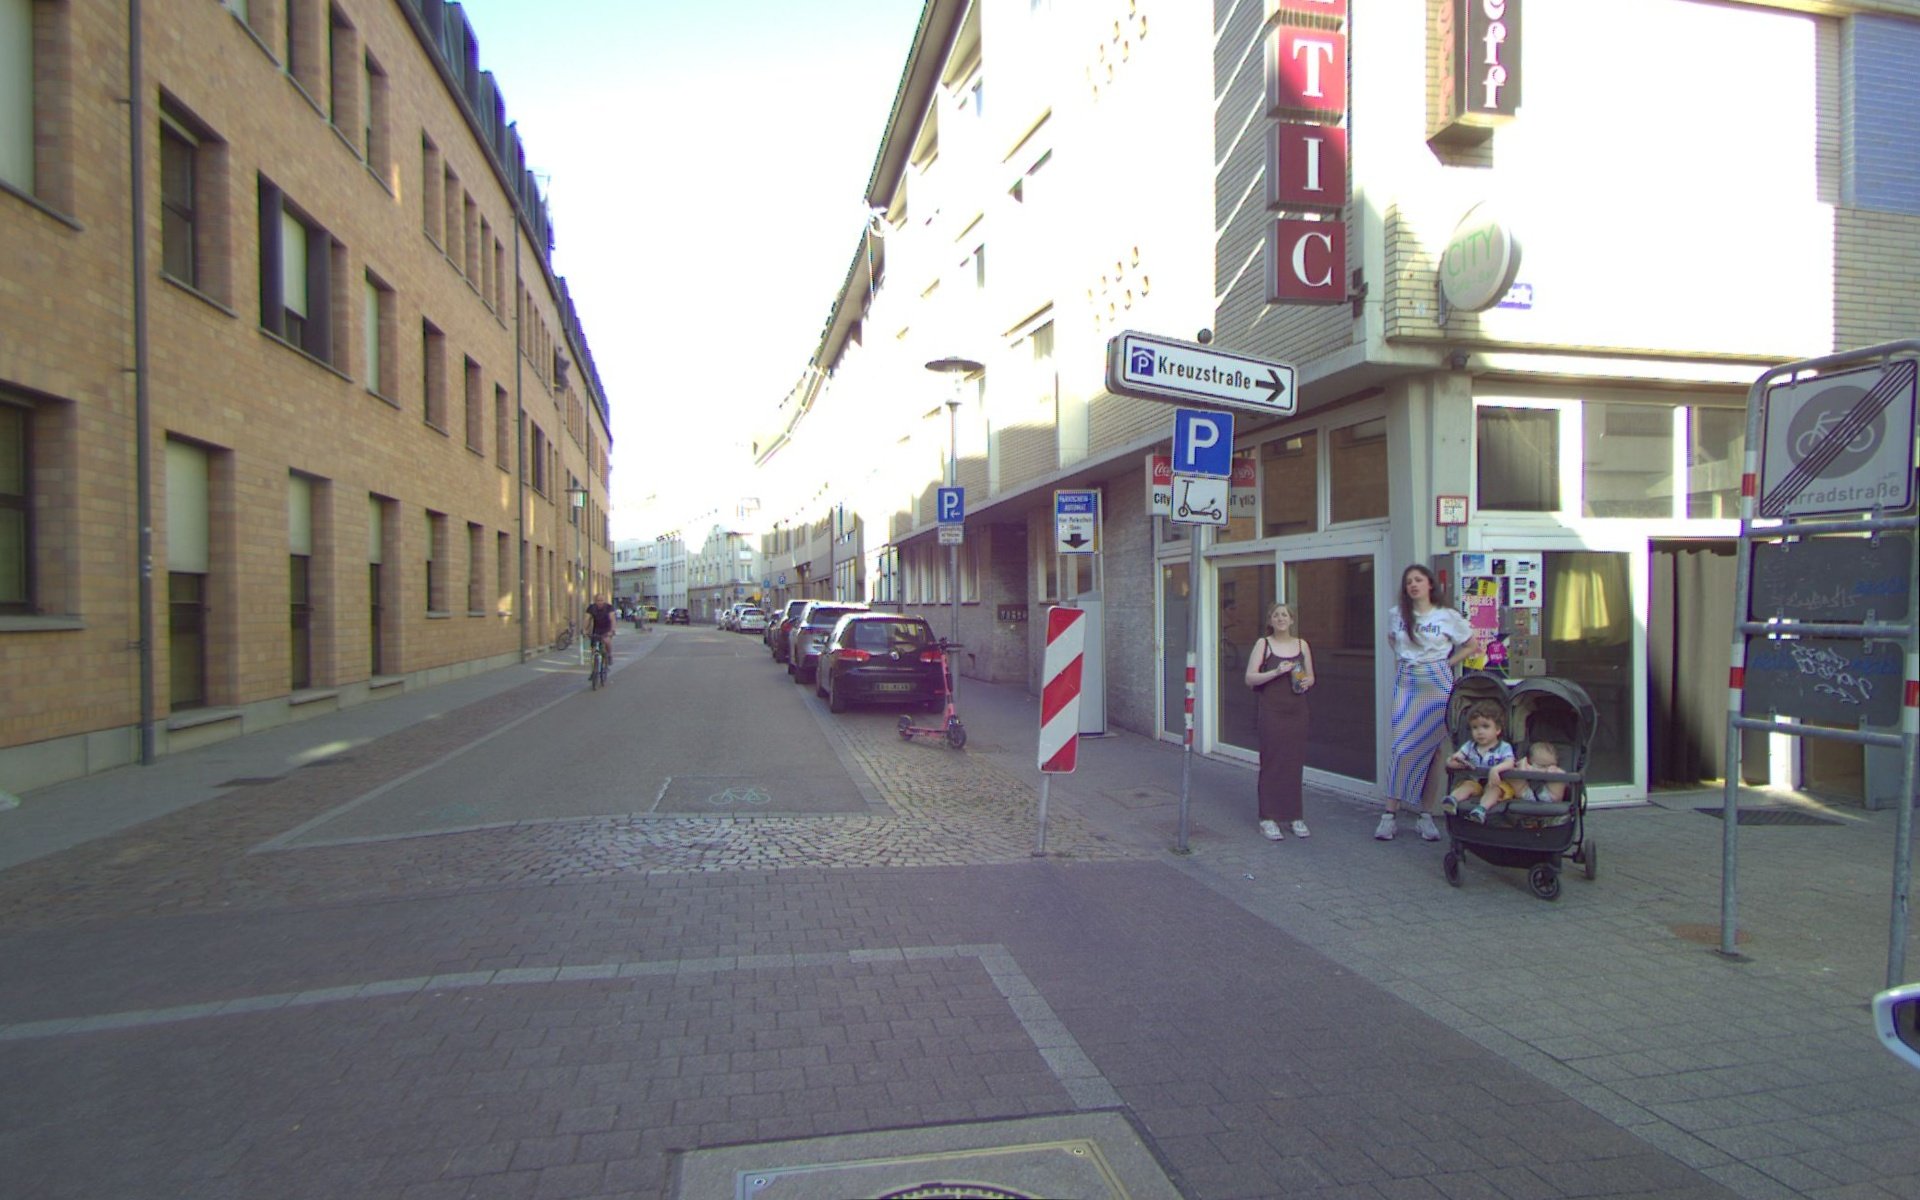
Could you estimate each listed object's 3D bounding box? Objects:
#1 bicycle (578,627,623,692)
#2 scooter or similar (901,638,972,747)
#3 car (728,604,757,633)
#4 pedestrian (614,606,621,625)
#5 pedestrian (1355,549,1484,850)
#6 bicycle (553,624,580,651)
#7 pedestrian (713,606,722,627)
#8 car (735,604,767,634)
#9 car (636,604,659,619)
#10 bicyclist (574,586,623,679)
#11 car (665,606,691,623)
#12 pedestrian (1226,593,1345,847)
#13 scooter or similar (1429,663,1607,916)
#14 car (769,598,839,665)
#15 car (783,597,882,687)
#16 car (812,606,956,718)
[{"bbox_3d":[-6.862,1.096,19.130,0.695,1.118,1.818,-4,1,-22],"label":"bicycle"},{"bbox_3d":[-0.272,1.041,11.530,0.868,1.199,0.207,-1,0,38],"label":"scooter or similar"},{"bbox_3d":[-14.367,1.193,66.274,1.665,1.799,3.645,2,-1,-15],"label":"car"},{"bbox_3d":[-28.856,1.294,84.604,0.534,1.565,0.404,1,0,-14],"label":"pedestrian"},{"bbox_3d":[3.001,0.615,6.548,0.648,1.844,0.569,-3,0,29],"label":"pedestrian"},{"bbox_3d":[-14.163,1.324,36.232,0.632,0.893,2.548,1,0,-15],"label":"bicycle"},{"bbox_3d":[-16.945,1.137,70.315,0.563,1.499,0.471,0,0,-20],"label":"pedestrian"},{"bbox_3d":[-12.609,1.131,60.516,1.665,1.701,3.497,2,-1,-15],"label":"car"},{"bbox_3d":[-35.651,1.346,114.612,1.910,1.673,3.811,1,0,-26],"label":"car"},{"bbox_3d":[-6.910,0.611,19.186,0.762,1.678,0.952,-3,0,-22],"label":"bicyclist"},{"bbox_3d":[-28.137,1.417,100.139,1.910,1.673,3.811,0,0,-26],"label":"car"},{"bbox_3d":[2.157,0.768,6.693,0.524,1.600,0.510,-3,0,-6],"label":"pedestrian"},{"bbox_3d":[3.068,0.970,5.544,0.785,1.159,0.952,-1,1,30],"label":"scooter or similar"},{"bbox_3d":[-4.433,0.853,28.200,1.645,1.727,4.003,2,-1,-13],"label":"car"},{"bbox_3d":[-2.765,0.828,21.122,1.645,1.683,4.071,2,-1,-13],"label":"car"},{"bbox_3d":[-1.331,0.895,16.000,1.711,1.506,3.802,2,0,-13],"label":"car"}]
